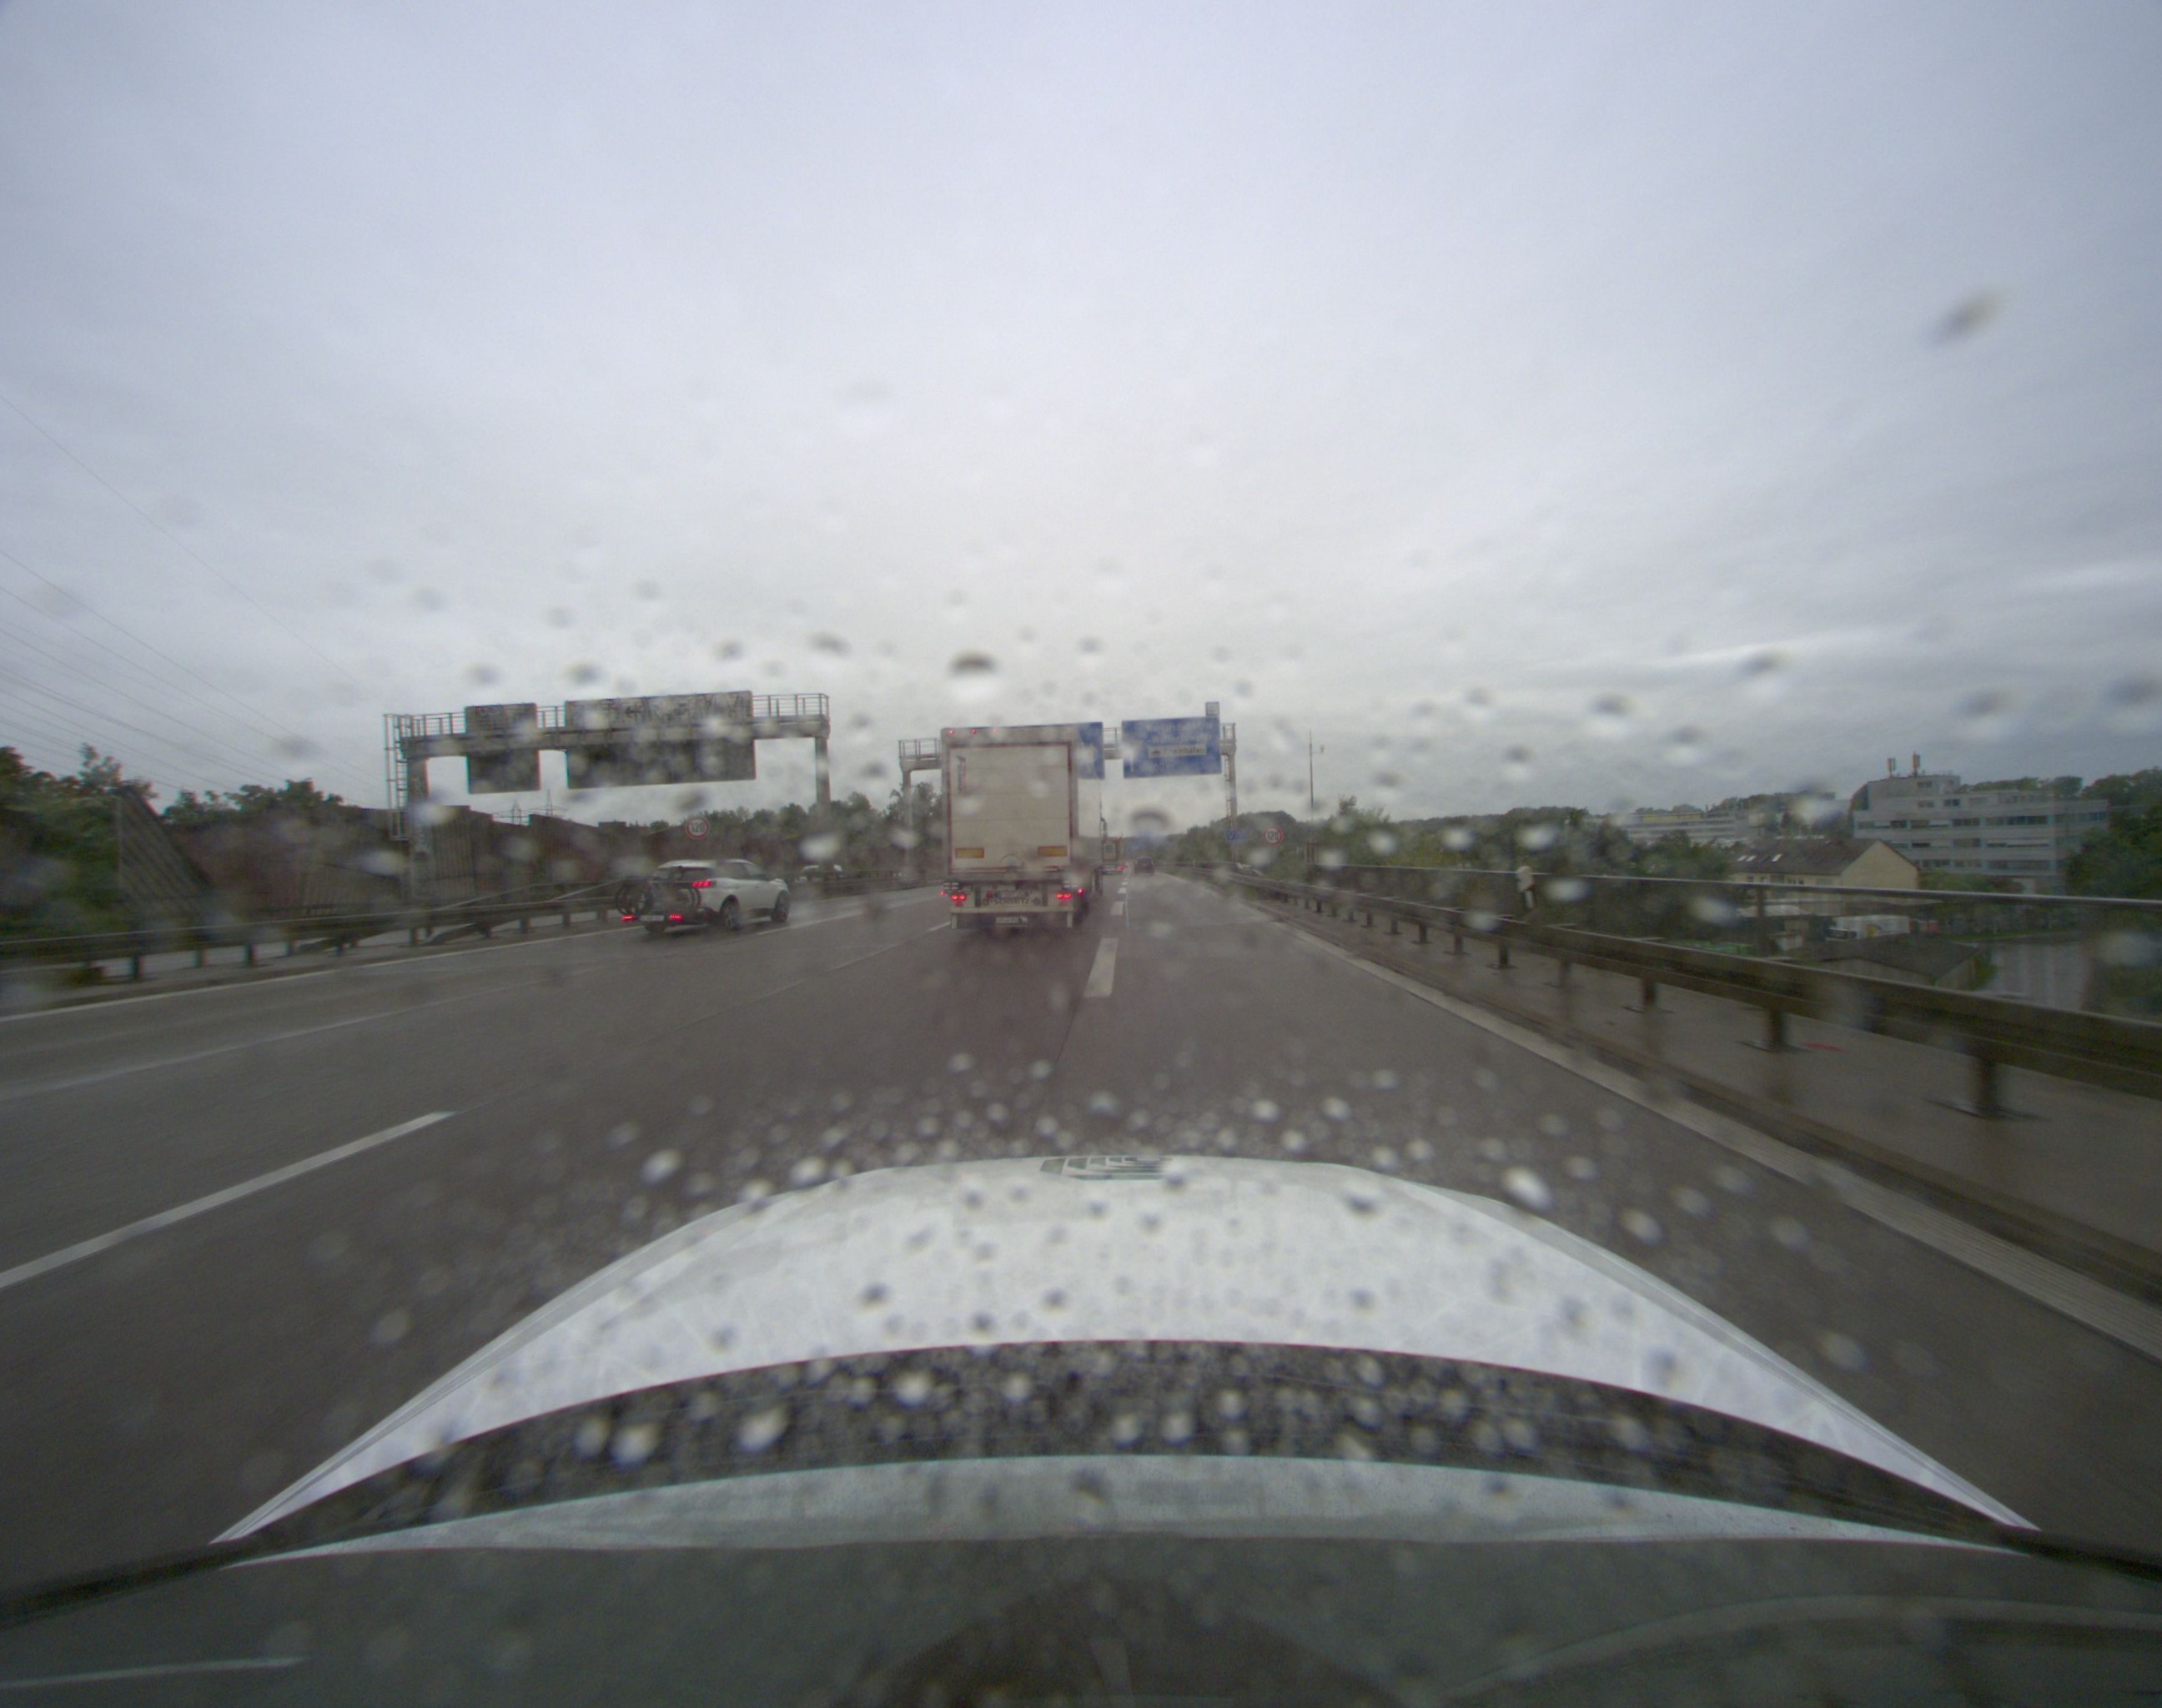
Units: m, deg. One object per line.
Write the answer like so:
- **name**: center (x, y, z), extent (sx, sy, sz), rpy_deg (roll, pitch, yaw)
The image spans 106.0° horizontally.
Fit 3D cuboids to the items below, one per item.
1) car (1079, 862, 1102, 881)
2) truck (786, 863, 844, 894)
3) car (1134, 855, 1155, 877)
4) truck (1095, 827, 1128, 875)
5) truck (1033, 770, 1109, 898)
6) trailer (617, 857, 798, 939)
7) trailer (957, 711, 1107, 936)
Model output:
- **car**: center (0.933, 1.578, 75.403), extent (1.886, 1.723, 4.003), rpy_deg (0, -1, 3)
- **truck**: center (-18.120, 1.613, 55.795), extent (1.986, 1.930, 5.253), rpy_deg (-2, 0, 2)
- **car**: center (5.868, 1.062, 75.018), extent (1.888, 1.949, 4.005), rpy_deg (0, -1, 5)
- **truck**: center (3.549, -0.288, 91.887), extent (3.519, 5.183, 9.901), rpy_deg (0, -1, 3)
- **truck**: center (-0.219, -0.674, 29.898), extent (2.332, 4.157, 6.352), rpy_deg (0, 0, 3)
- **trailer**: center (-8.333, 0.898, 18.712), extent (1.807, 1.624, 4.572), rpy_deg (-1, 0, 3)
- **trailer**: center (-0.679, -0.615, 22.544), extent (2.332, 4.157, 14.841), rpy_deg (0, 0, 3)
